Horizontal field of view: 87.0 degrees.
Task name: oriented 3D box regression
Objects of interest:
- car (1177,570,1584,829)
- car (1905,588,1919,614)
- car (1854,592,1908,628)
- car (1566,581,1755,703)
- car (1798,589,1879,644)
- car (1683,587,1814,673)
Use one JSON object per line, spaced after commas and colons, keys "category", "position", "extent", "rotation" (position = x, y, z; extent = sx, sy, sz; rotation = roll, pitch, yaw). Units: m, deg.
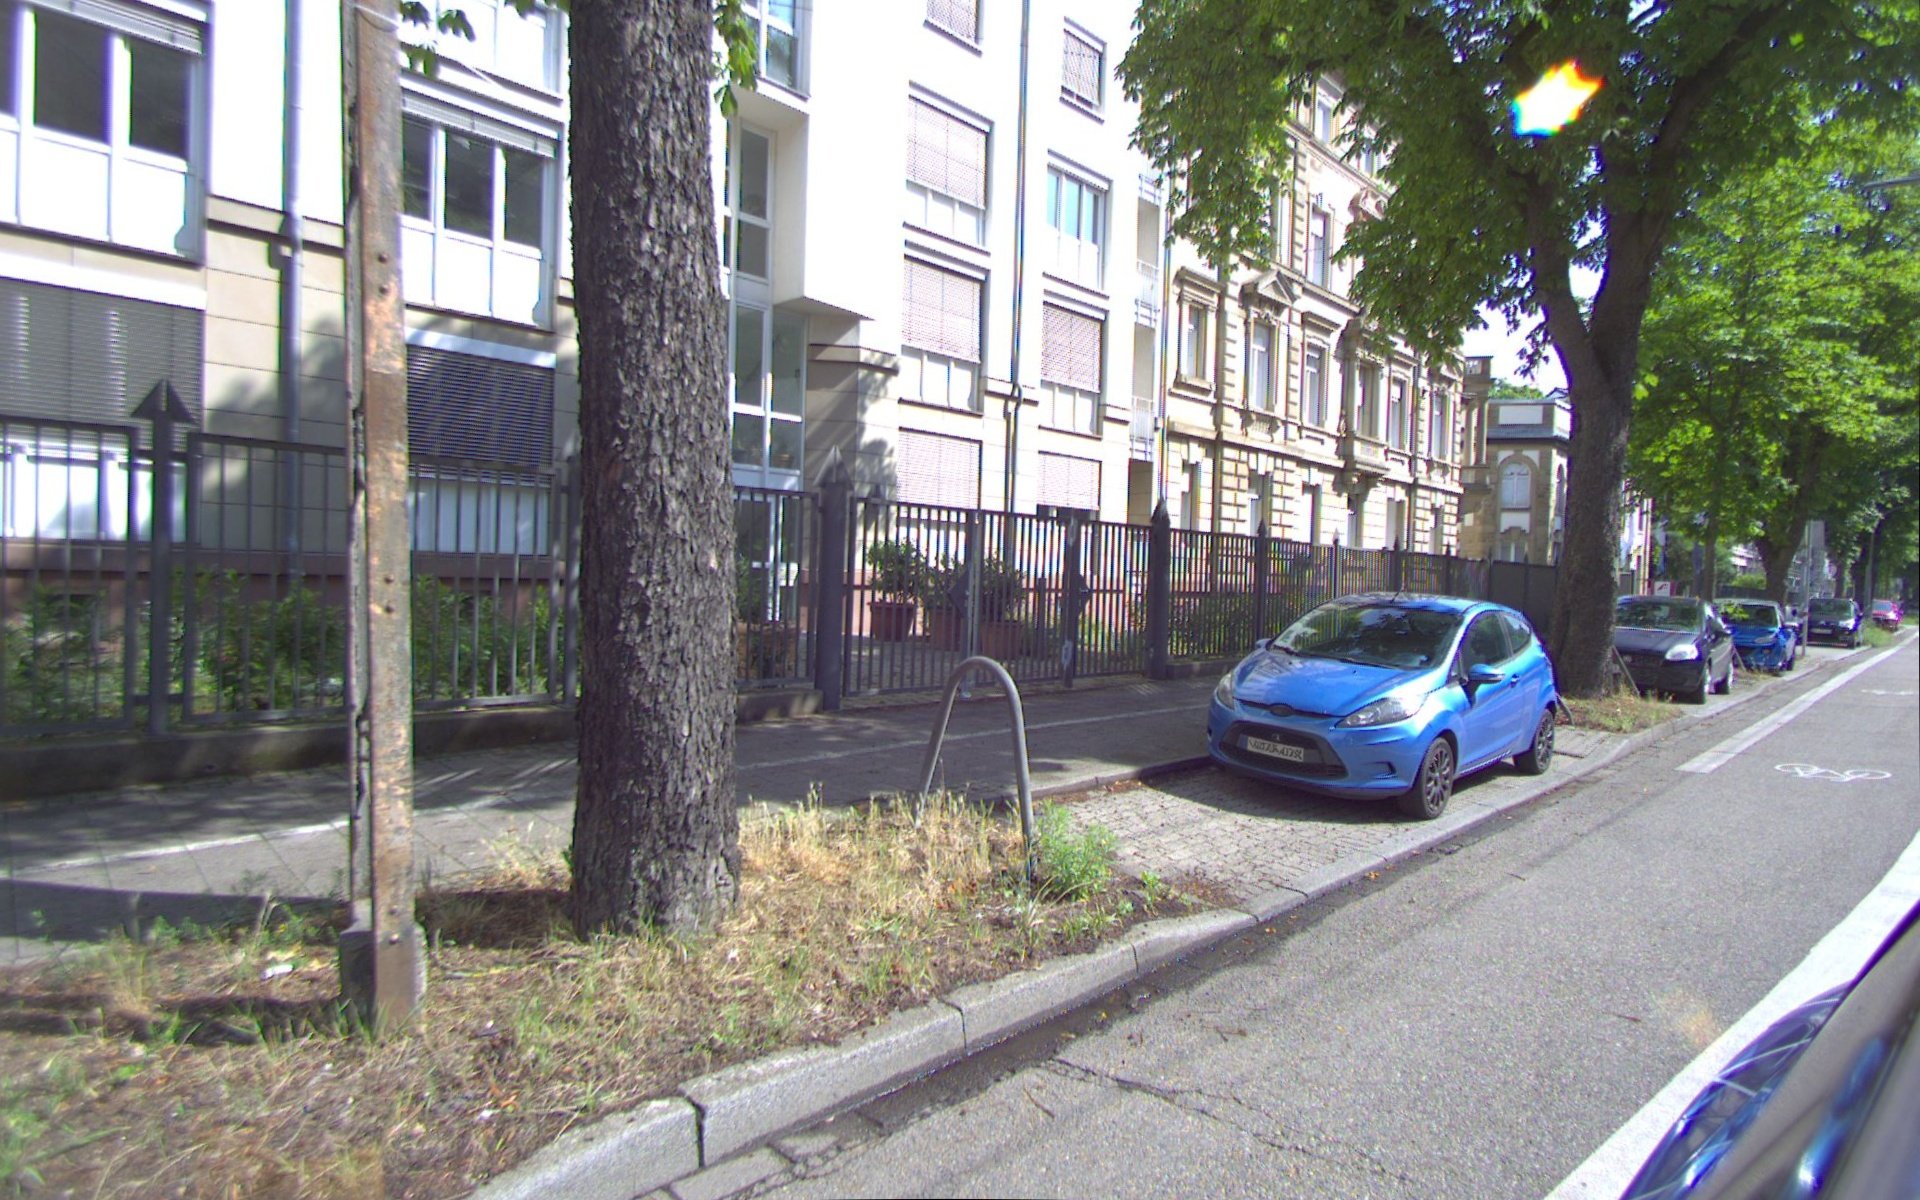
{"category": "car", "position": [3.486, 0.597, 8.078], "extent": [3.601, 1.493, 1.644], "rotation": [0, 5, -44]}
{"category": "car", "position": [63.243, 0.090, 66.285], "extent": [1.741, 1.592, 3.867], "rotation": [7, 5, 44]}
{"category": "car", "position": [45.382, 0.455, 49.860], "extent": [1.741, 1.592, 3.867], "rotation": [7, 5, 44]}
{"category": "car", "position": [10.639, 0.542, 15.282], "extent": [1.676, 1.493, 3.602], "rotation": [7, 5, 44]}
{"category": "car", "position": [29.402, 0.515, 33.842], "extent": [1.741, 1.592, 3.602], "rotation": [7, 5, 44]}
{"category": "car", "position": [16.387, 0.555, 20.978], "extent": [1.676, 1.493, 3.602], "rotation": [7, 5, 44]}
